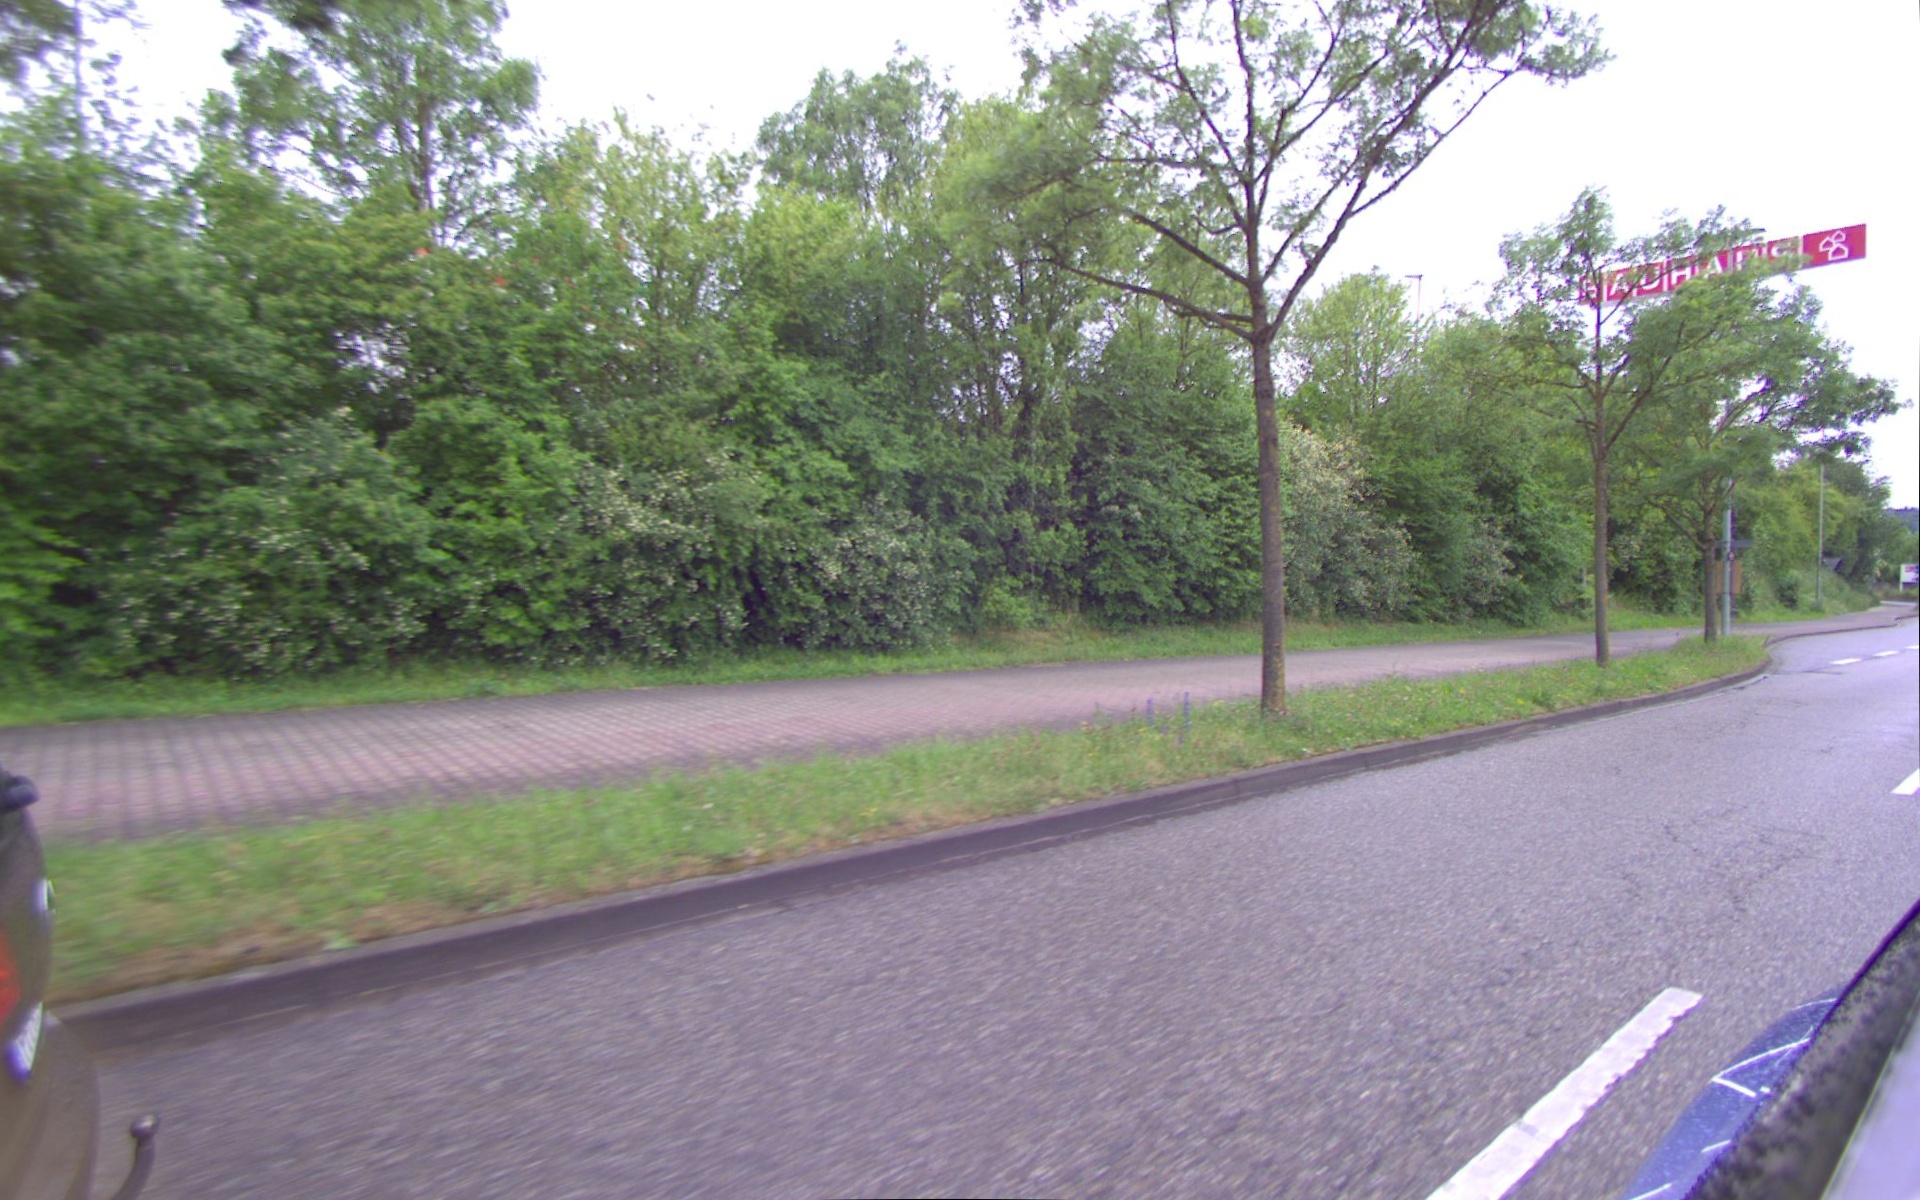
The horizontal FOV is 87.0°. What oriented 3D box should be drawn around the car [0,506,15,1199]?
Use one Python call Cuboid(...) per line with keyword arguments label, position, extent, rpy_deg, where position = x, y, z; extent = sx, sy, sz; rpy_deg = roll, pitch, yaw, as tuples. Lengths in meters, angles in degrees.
Cuboid(label="car", position=(-3.324, 0.625, 0.514), extent=(4.058, 1.616, 1.717), rpy_deg=(-1, 1, -41))
